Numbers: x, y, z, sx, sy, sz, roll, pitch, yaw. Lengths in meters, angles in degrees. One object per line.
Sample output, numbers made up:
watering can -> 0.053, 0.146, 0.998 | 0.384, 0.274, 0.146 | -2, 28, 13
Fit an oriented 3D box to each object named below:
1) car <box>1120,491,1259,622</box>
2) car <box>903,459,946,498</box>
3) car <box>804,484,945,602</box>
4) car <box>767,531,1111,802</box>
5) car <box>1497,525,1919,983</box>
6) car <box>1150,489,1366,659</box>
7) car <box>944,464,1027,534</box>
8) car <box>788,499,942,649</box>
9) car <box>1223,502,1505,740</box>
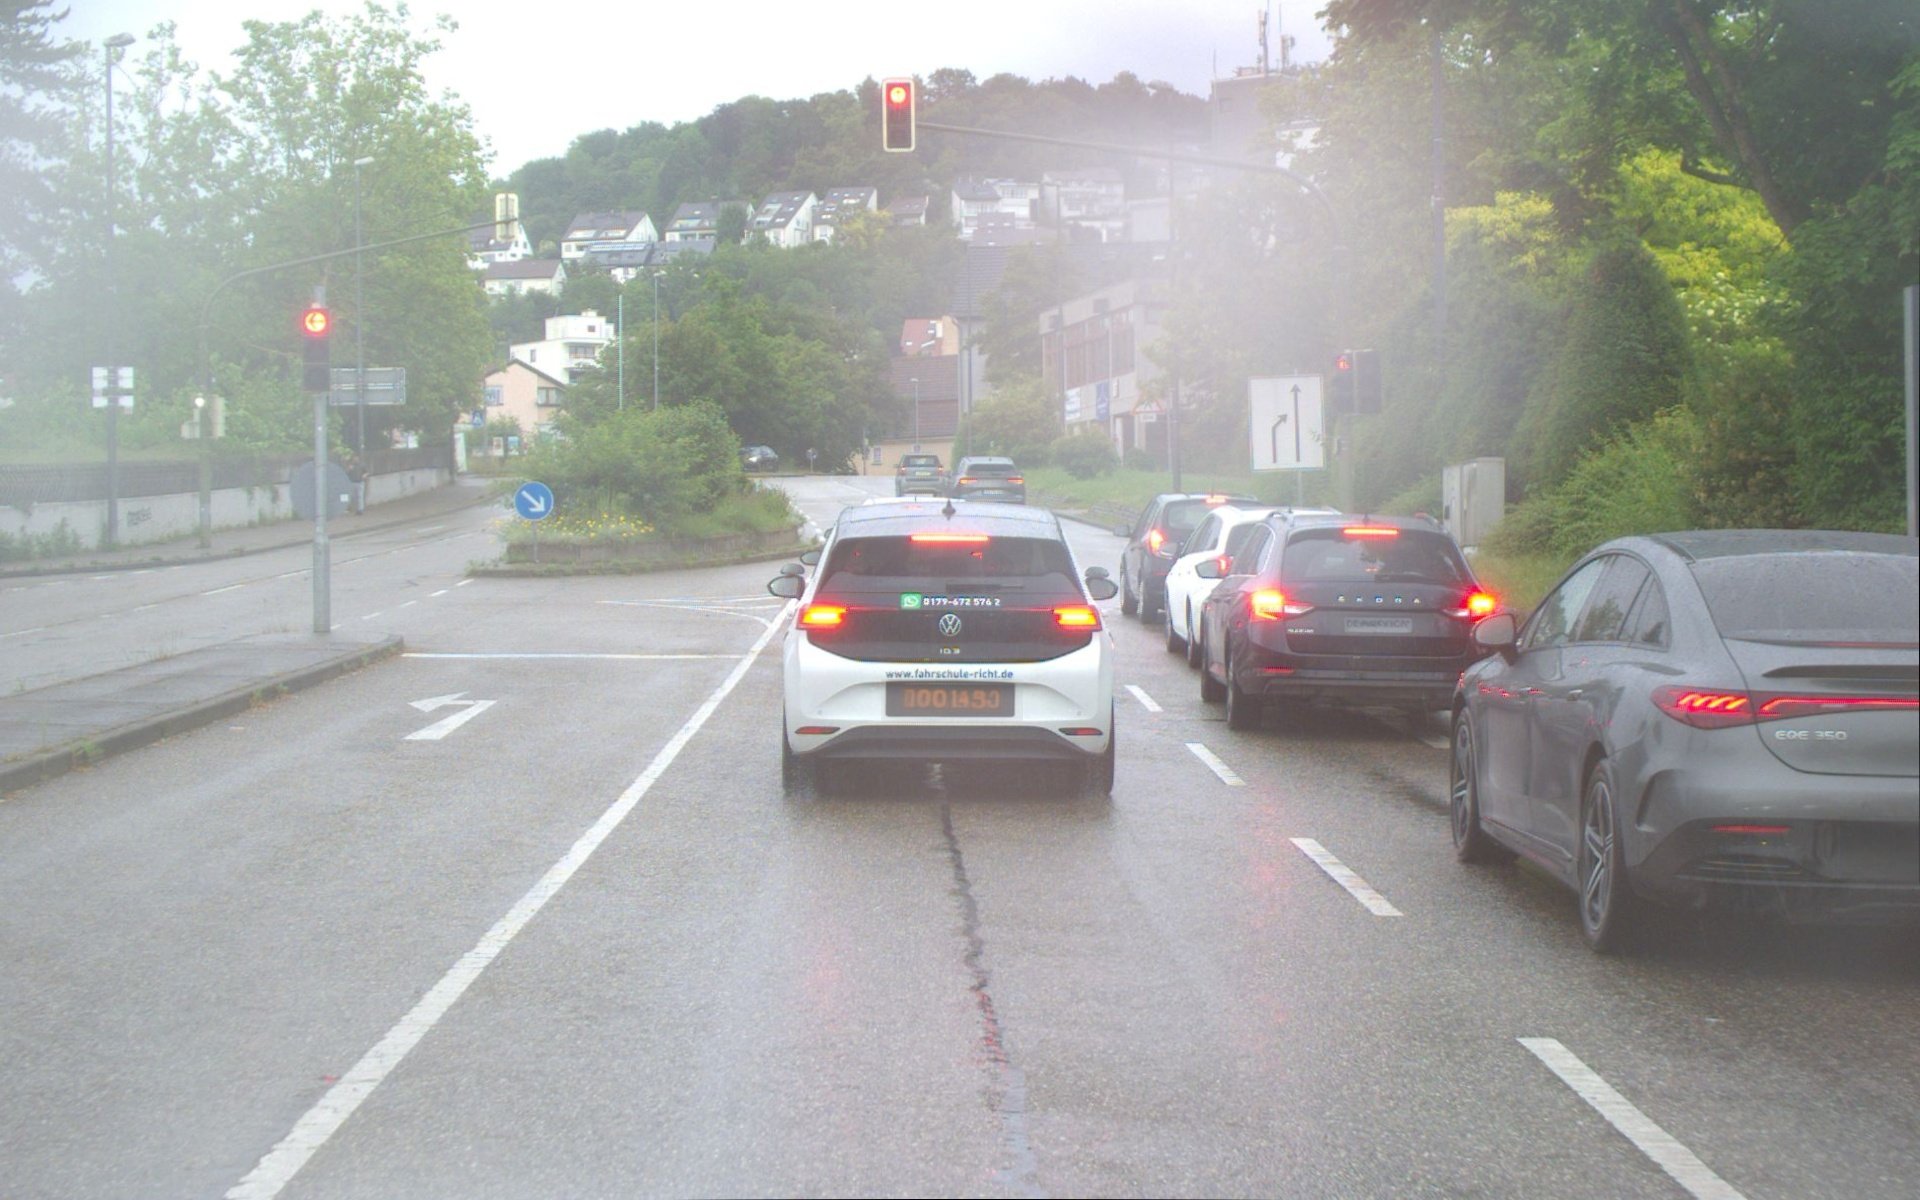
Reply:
car -> 2.624, -0.534, 39.792 | 1.315, 1.392, 3.079 | -2, 2, -1
car -> -1.217, -4.110, 116.515 | 1.366, 1.153, 2.427 | -1, -1, -2
car -> -0.899, -0.594, 37.195 | 1.385, 1.123, 2.610 | -2, -2, 1
car -> -0.124, 0.305, 19.129 | 1.741, 1.291, 3.334 | 0, 3, -1
car -> 3.087, 0.467, 12.739 | 1.734, 1.383, 3.352 | 1, 3, 2
car -> 2.704, -0.192, 31.924 | 1.565, 1.393, 3.957 | -2, -2, -1
car -> 0.637, -2.579, 88.495 | 1.794, 1.564, 3.526 | -2, -2, -5
car -> -0.806, -0.197, 28.976 | 1.213, 1.152, 2.270 | -1, -2, -2
car -> 2.724, 0.178, 23.792 | 1.648, 1.480, 3.365 | -2, -2, 2
